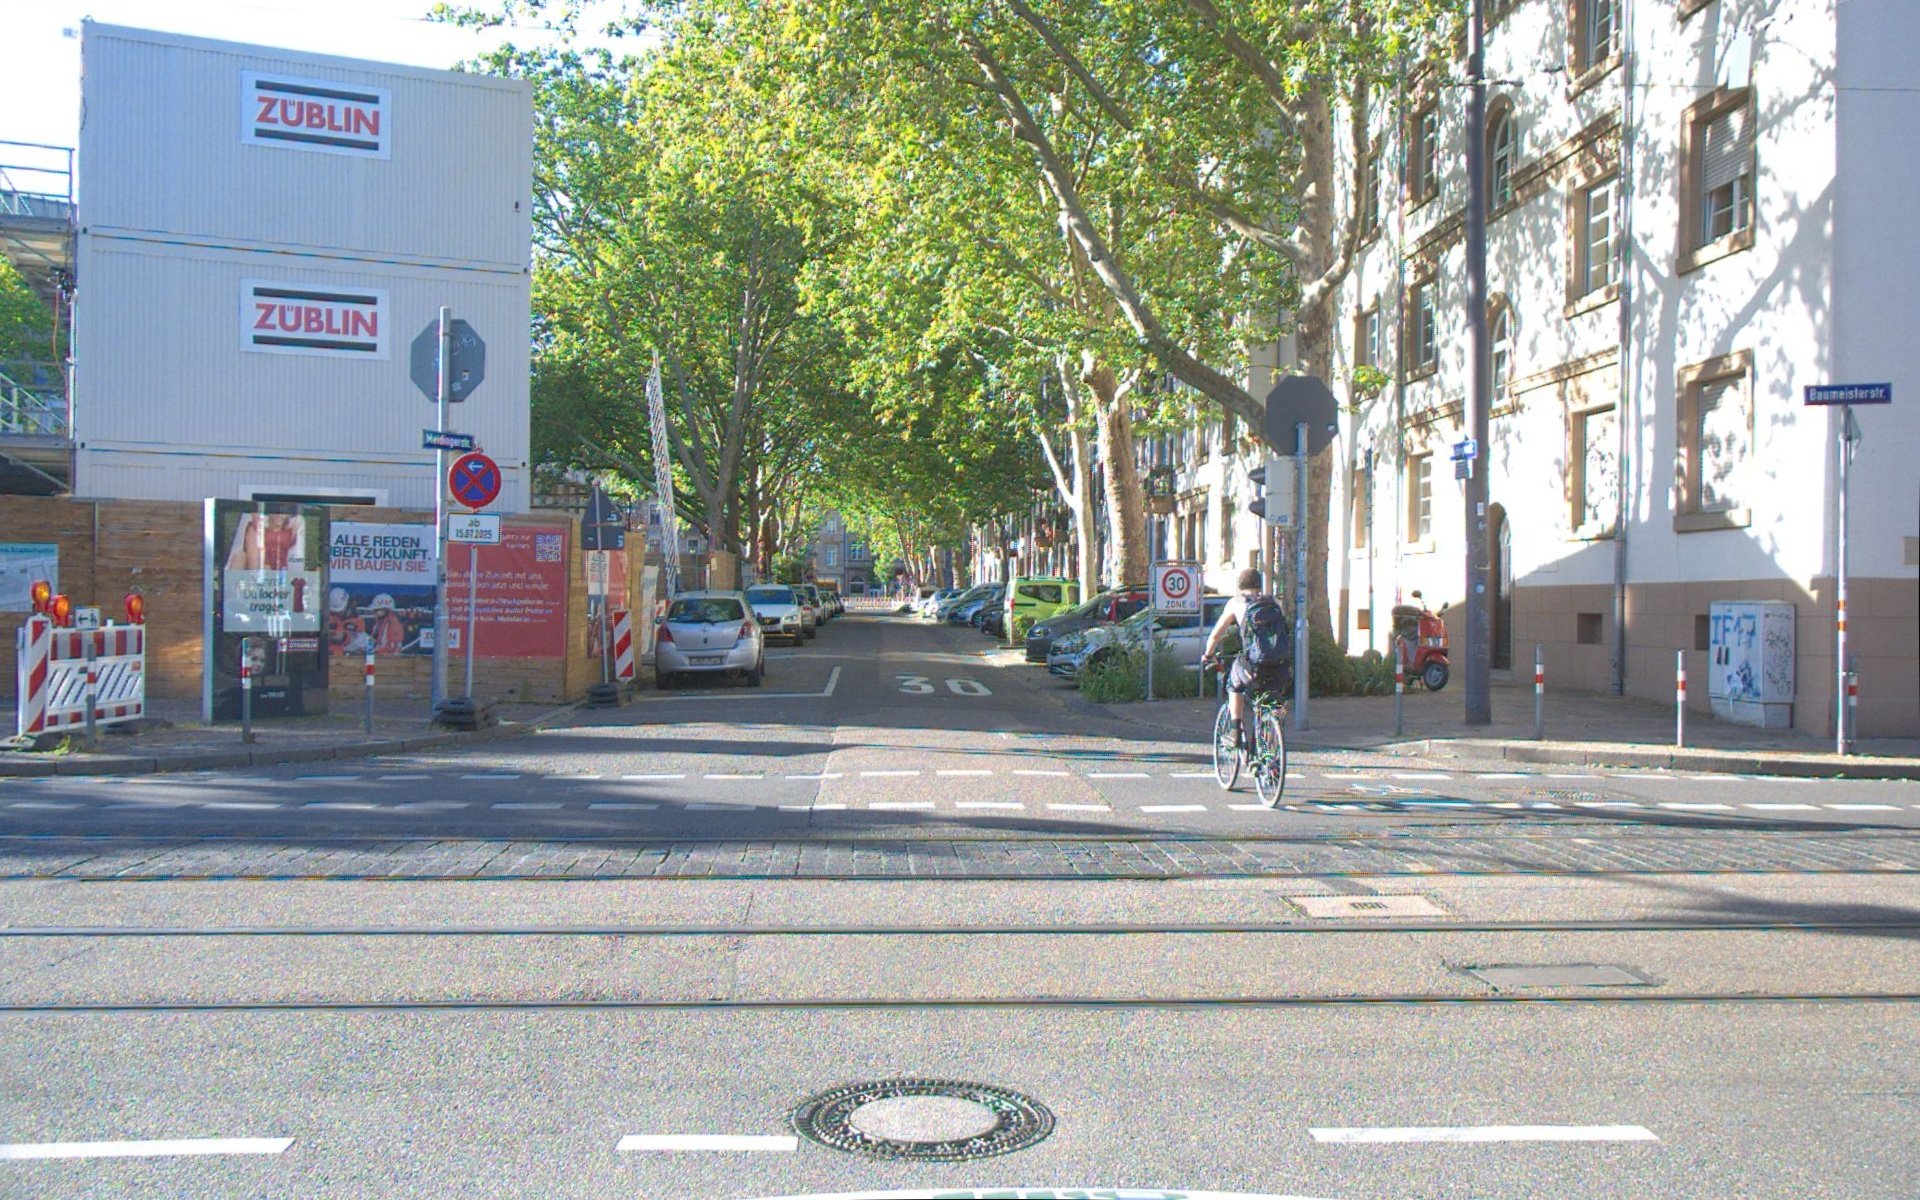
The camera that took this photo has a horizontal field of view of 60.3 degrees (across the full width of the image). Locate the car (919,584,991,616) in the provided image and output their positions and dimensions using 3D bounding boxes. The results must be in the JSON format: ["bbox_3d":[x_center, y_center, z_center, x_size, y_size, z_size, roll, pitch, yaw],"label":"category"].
[{"bbox_3d":[-0.340,-0.012,103.567,4.374,1.931,1.727,0,0,-5],"label":"car"}]

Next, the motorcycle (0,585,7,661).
[{"bbox_3d":[-17.231,0.397,27.660,2.192,1.279,0.535,0,1,-42],"label":"motorcycle"}]

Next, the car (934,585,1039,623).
[{"bbox_3d":[1.112,0.179,70.959,4.374,1.598,1.727,0,0,-5],"label":"car"}]

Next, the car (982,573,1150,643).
[{"bbox_3d":[2.858,0.203,45.232,4.374,1.868,1.726,0,0,-5],"label":"car"}]

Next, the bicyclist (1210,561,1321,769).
[{"bbox_3d":[2.340,0.487,12.727,0.663,1.539,0.668,2,0,-3],"label":"bicyclist"}]

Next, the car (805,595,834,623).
[{"bbox_3d":[-8.268,0.496,97.126,1.633,1.590,4.215,0,0,-5],"label":"car"}]

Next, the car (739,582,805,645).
[{"bbox_3d":[-4.942,0.335,43.857,1.633,1.590,3.996,0,0,-5],"label":"car"}]

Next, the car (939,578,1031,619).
[{"bbox_3d":[1.190,-0.087,80.617,4.374,1.931,1.727,0,0,-5],"label":"car"}]

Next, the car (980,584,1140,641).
[{"bbox_3d":[2.831,0.342,47.249,4.374,1.598,1.727,0,0,-5],"label":"car"}]

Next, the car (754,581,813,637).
[{"bbox_3d":[-5.230,0.228,49.378,1.633,1.590,4.514,0,0,-5],"label":"car"}]

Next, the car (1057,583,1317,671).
[{"bbox_3d":[4.035,0.478,29.771,4.374,1.527,1.727,0,0,-5],"label":"car"}]

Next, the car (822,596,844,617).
[{"bbox_3d":[-9.706,0.491,126.662,1.633,1.590,4.215,0,0,-5],"label":"car"}]

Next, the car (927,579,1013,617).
[{"bbox_3d":[0.495,-0.088,86.219,4.374,1.931,1.727,0,0,-5],"label":"car"}]

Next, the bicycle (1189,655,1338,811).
[{"bbox_3d":[2.316,0.991,12.852,0.676,1.034,1.906,2,0,-4],"label":"bicycle"}]

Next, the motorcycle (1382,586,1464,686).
[{"bbox_3d":[6.500,0.481,23.308,0.504,1.356,1.761,0,0,-6],"label":"motorcycle"}]

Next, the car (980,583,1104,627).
[{"bbox_3d":[2.978,0.179,60.618,4.374,1.598,1.727,0,0,-5],"label":"car"}]

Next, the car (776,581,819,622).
[{"bbox_3d":[-6.451,0.051,66.073,1.633,1.590,4.611,0,0,-5],"label":"car"}]

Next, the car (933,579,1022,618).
[{"bbox_3d":[0.853,-0.080,83.368,4.374,1.931,1.727,0,0,-5],"label":"car"}]

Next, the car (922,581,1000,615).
[{"bbox_3d":[0.045,-0.106,96.151,4.374,1.931,1.727,0,0,-5],"label":"car"}]

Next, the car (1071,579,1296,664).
[{"bbox_3d":[4.589,0.439,34.269,4.374,1.700,1.727,0,0,-5],"label":"car"}]

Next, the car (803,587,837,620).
[{"bbox_3d":[-6.822,0.157,80.616,1.633,1.590,4.276,0,0,-5],"label":"car"}]

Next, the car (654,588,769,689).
[{"bbox_3d":[-4.088,0.583,27.708,1.611,1.520,3.996,-2,1,-5],"label":"car"}]

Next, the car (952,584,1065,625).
[{"bbox_3d":[1.926,0.188,66.237,4.374,1.598,1.727,0,0,-5],"label":"car"}]

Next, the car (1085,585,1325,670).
[{"bbox_3d":[4.718,0.515,32.187,4.374,1.598,1.727,0,0,-5],"label":"car"}]

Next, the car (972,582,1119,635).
[{"bbox_3d":[2.626,0.256,51.194,4.374,1.598,1.727,0,0,-5],"label":"car"}]

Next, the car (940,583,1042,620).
[{"bbox_3d":[1.351,0.073,73.297,4.374,1.598,1.727,0,0,-5],"label":"car"}]

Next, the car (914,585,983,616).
[{"bbox_3d":[-0.755,0.019,106.591,4.374,1.931,1.727,0,0,-5],"label":"car"}]

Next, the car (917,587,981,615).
[{"bbox_3d":[-0.755,0.095,115.733,4.374,1.931,1.727,0,0,-5],"label":"car"}]

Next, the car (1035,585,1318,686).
[{"bbox_3d":[3.519,0.567,27.277,4.374,1.598,1.727,0,0,-5],"label":"car"}]

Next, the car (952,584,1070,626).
[{"bbox_3d":[1.942,0.183,63.759,4.374,1.598,1.727,0,0,-5],"label":"car"}]
